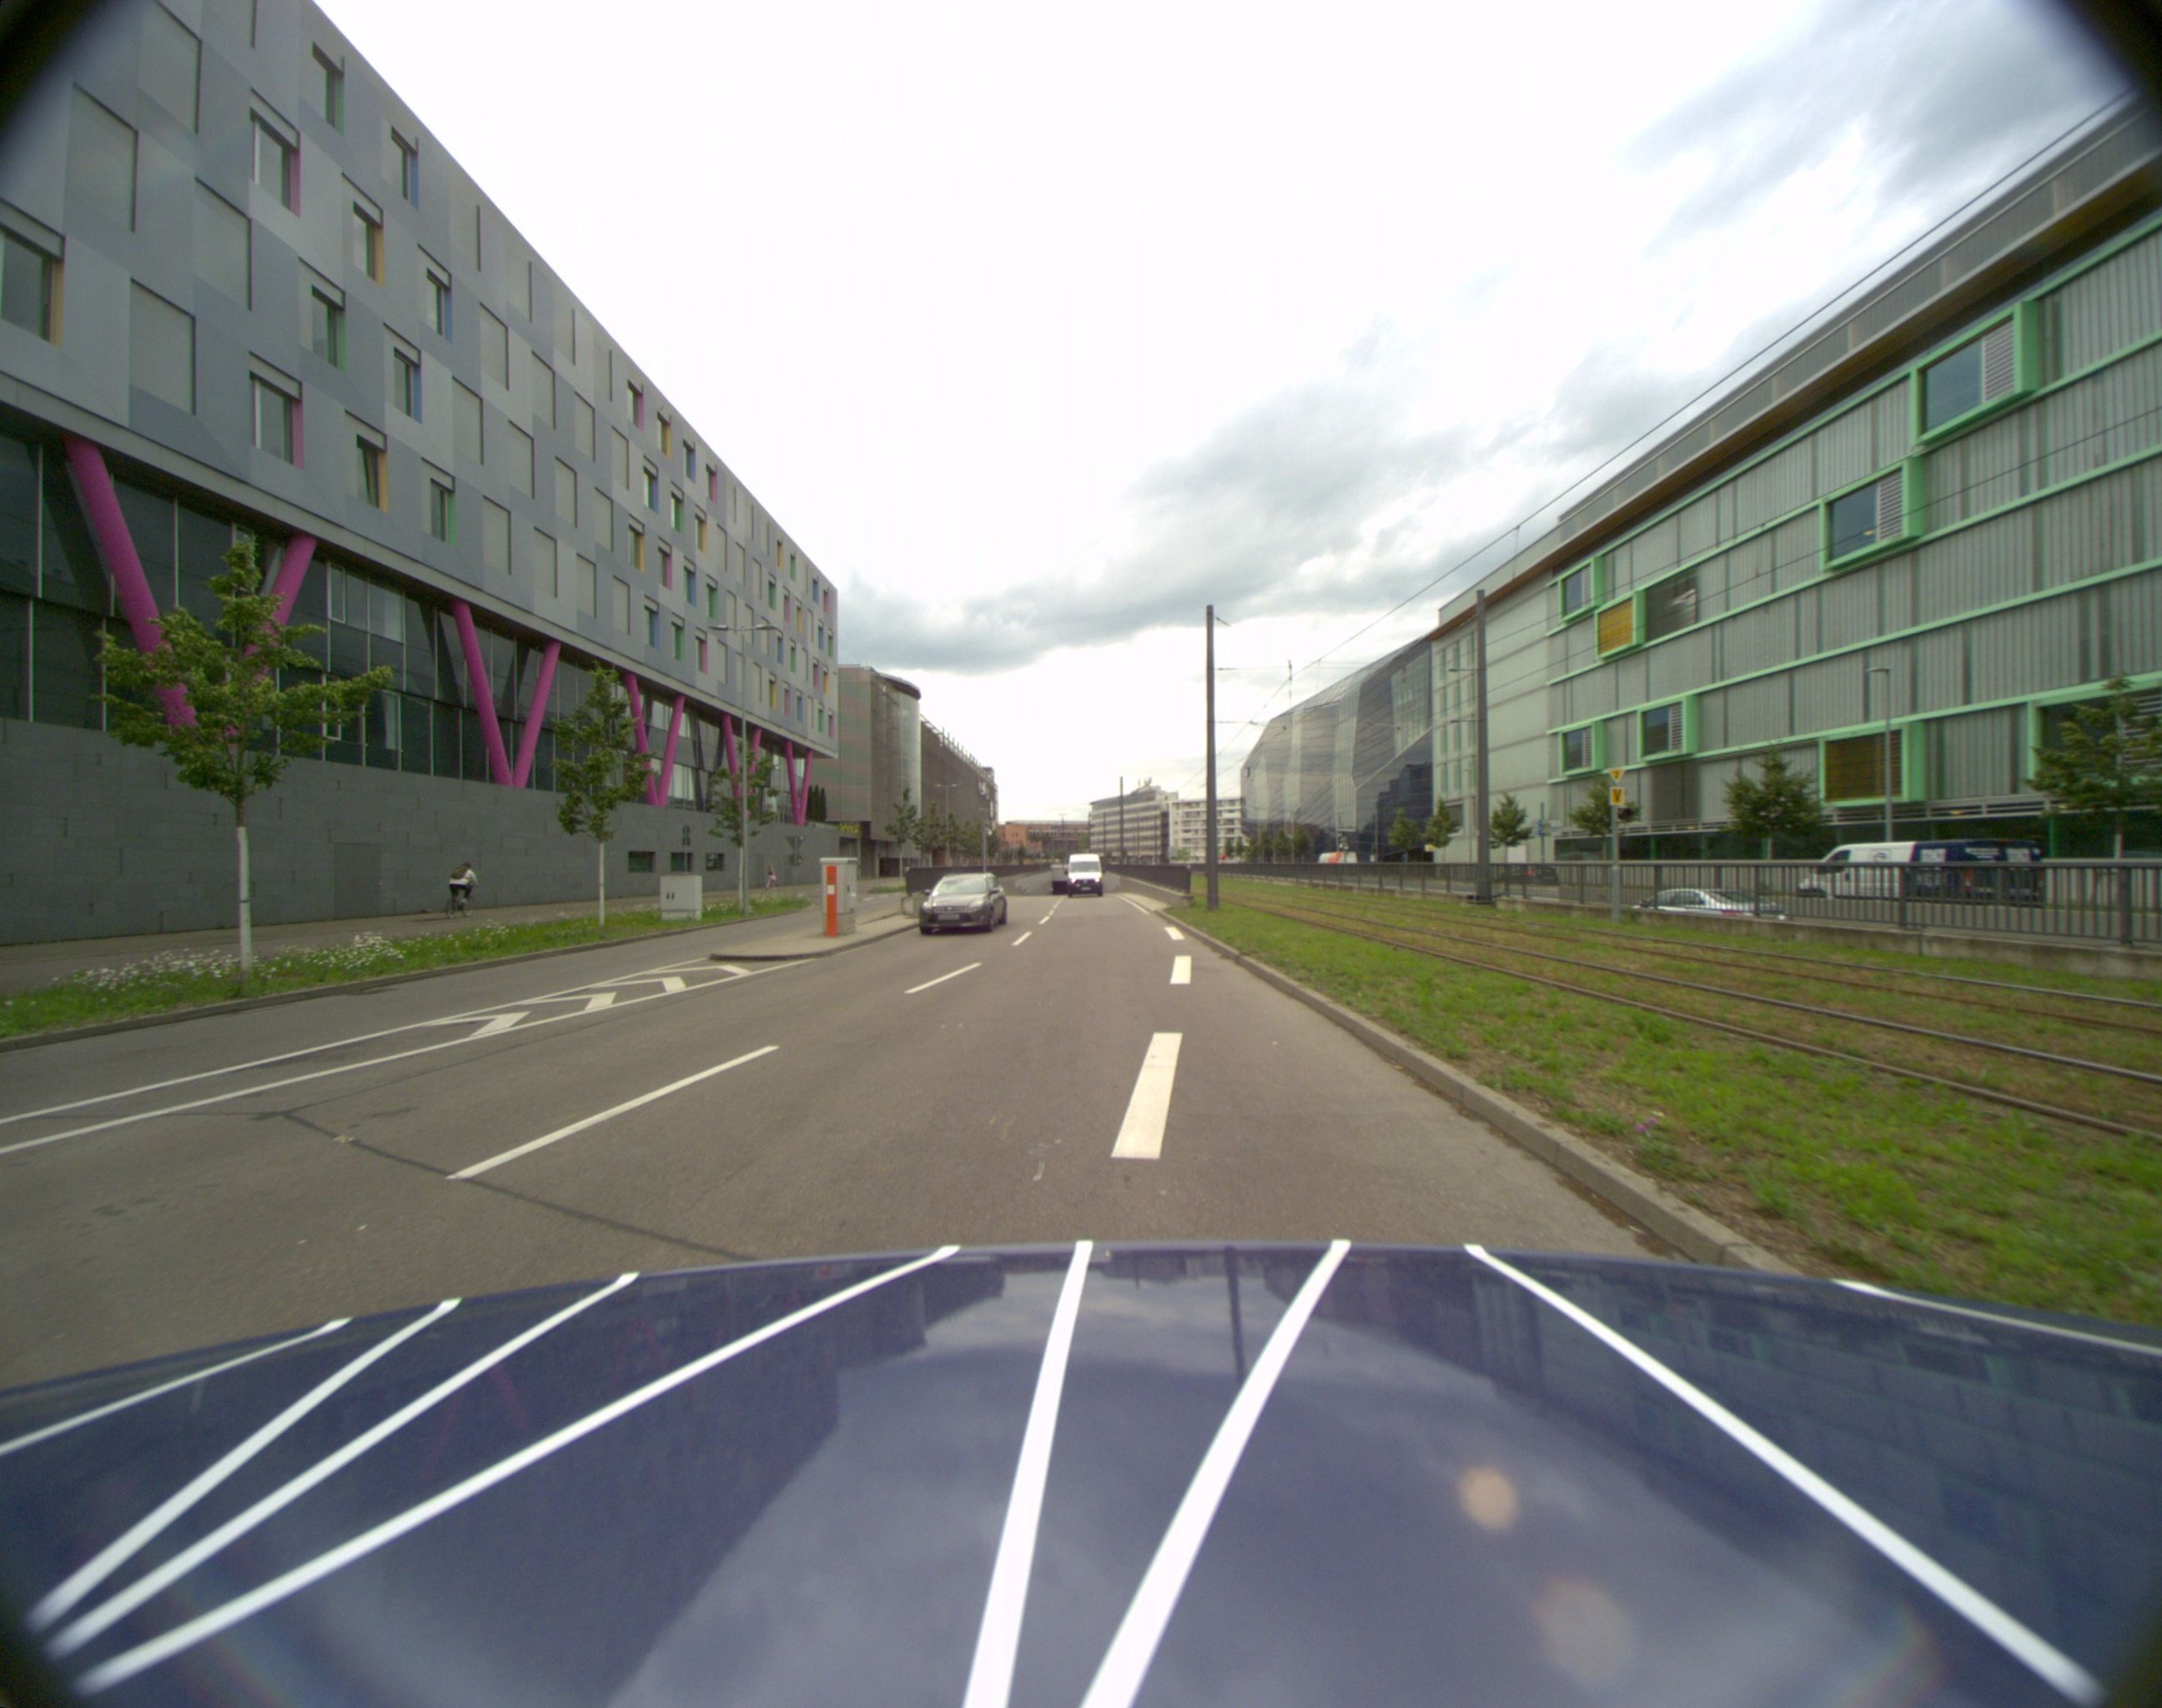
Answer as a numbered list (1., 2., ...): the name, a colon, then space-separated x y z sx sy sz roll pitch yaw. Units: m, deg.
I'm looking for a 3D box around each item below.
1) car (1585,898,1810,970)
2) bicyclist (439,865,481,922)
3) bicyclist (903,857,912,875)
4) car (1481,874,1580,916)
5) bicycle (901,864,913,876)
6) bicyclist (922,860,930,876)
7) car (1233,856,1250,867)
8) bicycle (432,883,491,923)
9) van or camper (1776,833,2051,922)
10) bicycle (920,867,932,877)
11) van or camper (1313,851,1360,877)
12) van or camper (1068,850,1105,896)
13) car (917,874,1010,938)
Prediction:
1. car: 15.877 1.982 20.015 1.786 1.505 4.972 -1 -2 -1
2. bicyclist: -19.895 1.259 24.370 0.774 1.776 0.972 0 -1 -21
3. bicyclist: -18.808 1.305 82.196 0.784 1.790 0.705 -1 -4 -1
4. car: 23.309 2.198 39.709 1.999 2.000 4.975 -1 -5 -2
5. bicycle: -18.797 1.717 82.262 0.801 1.150 2.347 -1 -5 0
6. bicyclist: -17.654 1.631 86.548 0.784 1.791 0.705 -1 -1 0
7. car: 26.145 1.228 123.822 1.998 1.582 4.769 -1 -2 2
8. bicycle: -19.958 1.563 24.531 0.786 1.187 2.217 0 -1 -21
9. van or camper: 23.866 0.649 22.230 2.178 2.273 5.359 0 -1 0
10. bicycle: -17.652 2.036 86.489 0.801 1.151 2.345 -1 -1 0
11. van or camper: 23.621 0.971 70.544 2.178 2.272 6.507 -1 -1 1
12. van or camper: 0.288 1.216 45.450 2.043 2.570 5.043 -1 -3 0
13. car: -3.018 1.297 20.351 1.752 1.490 4.269 -1 -1 1
